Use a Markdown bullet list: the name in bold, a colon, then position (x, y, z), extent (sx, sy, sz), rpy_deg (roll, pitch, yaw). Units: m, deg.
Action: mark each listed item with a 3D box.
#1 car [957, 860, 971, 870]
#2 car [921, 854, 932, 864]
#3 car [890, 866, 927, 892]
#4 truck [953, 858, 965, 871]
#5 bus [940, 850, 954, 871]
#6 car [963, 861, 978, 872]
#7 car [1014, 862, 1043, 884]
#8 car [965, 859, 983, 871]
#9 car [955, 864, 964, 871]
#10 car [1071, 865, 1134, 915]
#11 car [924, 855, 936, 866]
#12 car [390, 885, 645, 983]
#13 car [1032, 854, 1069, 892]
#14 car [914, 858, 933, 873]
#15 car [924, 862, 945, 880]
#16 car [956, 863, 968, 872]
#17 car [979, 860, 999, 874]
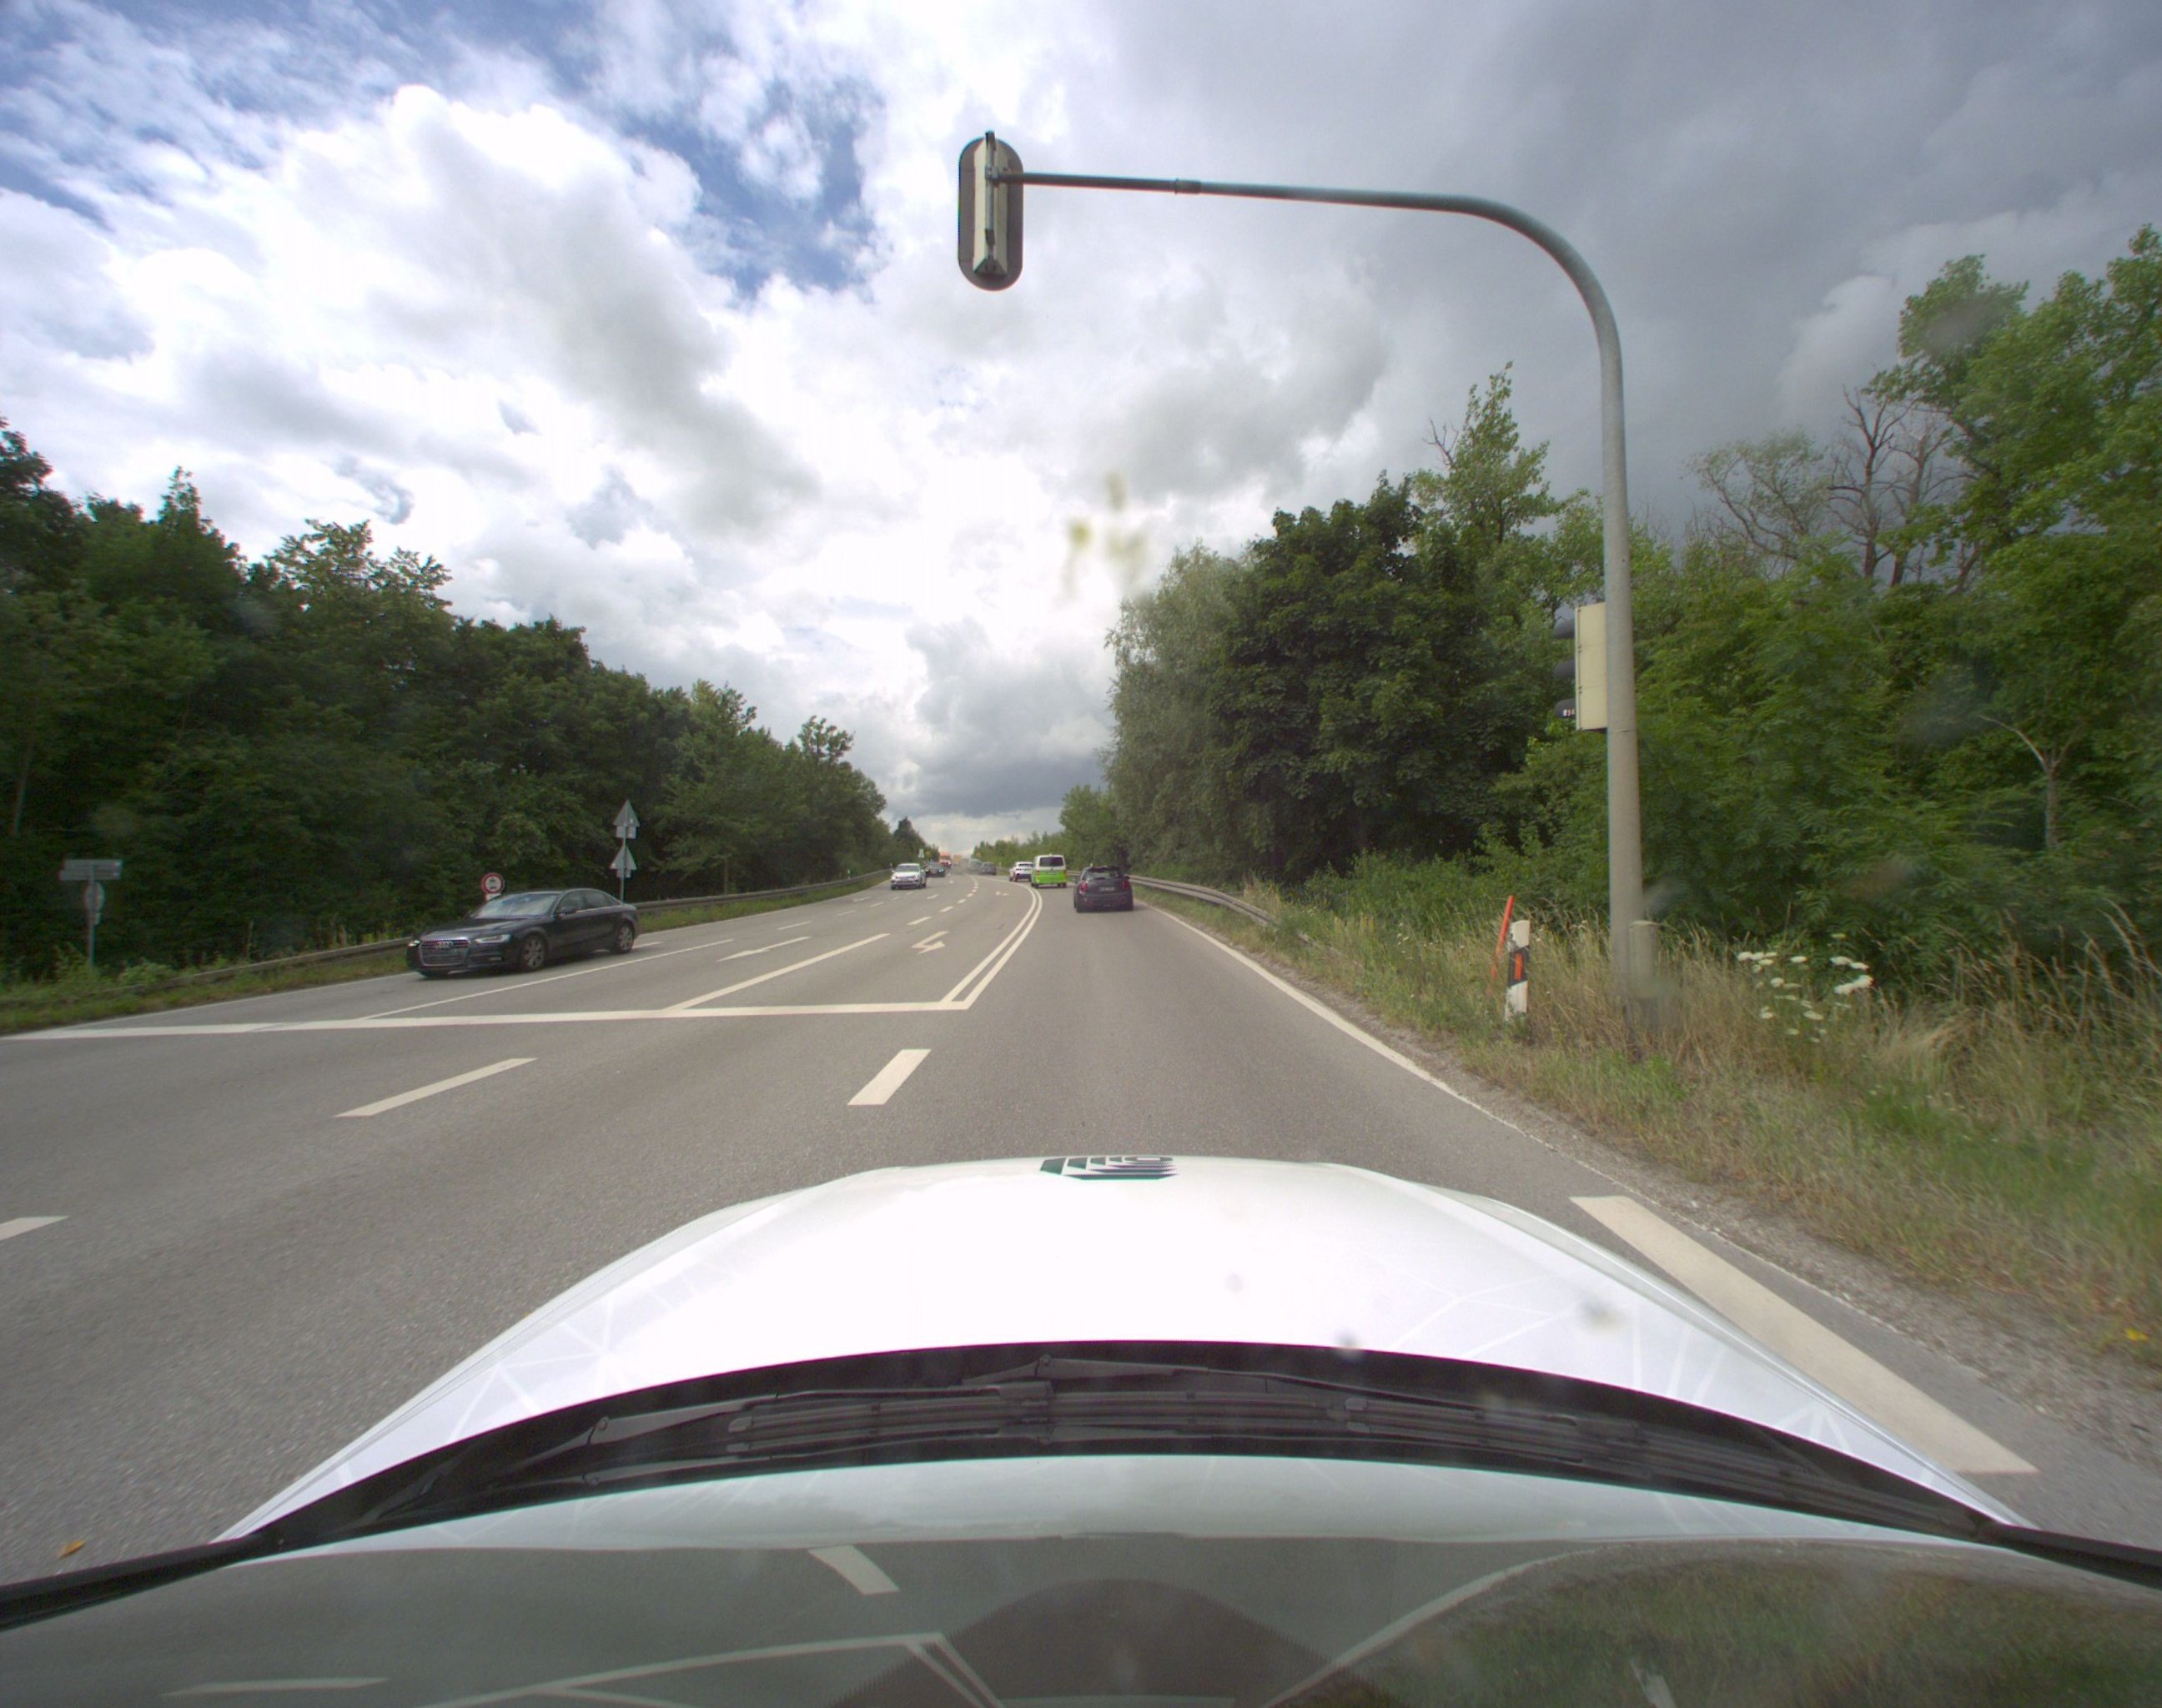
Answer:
- **car**: position (-19.829, 1.887, 138.166), extent (1.996, 1.696, 4.465), rpy_deg (1, -1, -13)
- **car**: position (-33.291, 1.053, 175.706), extent (1.992, 2.014, 3.989), rpy_deg (0, -1, -8)
- **car**: position (-11.485, 1.644, 54.536), extent (1.991, 1.613, 3.992), rpy_deg (0, -1, -6)
- **truck**: position (-31.932, 2.731, 212.957), extent (2.713, 2.899, 8.749), rpy_deg (1, -4, -6)
- **bus**: position (-22.302, 1.071, 135.365), extent (1.995, 3.302, 7.398), rpy_deg (0, -1, -12)
- **car**: position (-16.384, 1.888, 120.303), extent (1.994, 1.477, 4.468), rpy_deg (1, -2, -11)
- **car**: position (-4.194, 1.505, 64.565), extent (1.993, 1.684, 3.988), rpy_deg (-1, -1, -8)
- **car**: position (-14.008, 1.438, 106.625), extent (1.995, 1.477, 4.465), rpy_deg (1, -2, -13)
- **car**: position (-29.587, 3.297, 198.469), extent (1.995, 1.787, 4.466), rpy_deg (0, -1, -12)
- **car**: position (0.666, 1.090, 26.063), extent (1.838, 1.428, 3.841), rpy_deg (-2, -1, 1)
- **car**: position (-28.408, 1.281, 152.998), extent (1.992, 2.014, 3.990), rpy_deg (1, -1, -7)
- **car**: position (-10.088, 1.351, 15.067), extent (1.732, 1.406, 4.249), rpy_deg (-2, -1, 0)
- **car**: position (-1.858, 1.098, 48.861), extent (1.844, 1.986, 3.831), rpy_deg (0, 2, -8)
- **car**: position (-18.383, 1.384, 94.938), extent (1.993, 1.690, 3.987), rpy_deg (0, -1, -9)
- **car**: position (-14.613, 1.716, 81.368), extent (1.993, 1.690, 3.987), rpy_deg (-2, -1, -9)
- **car**: position (-23.511, 2.721, 160.769), extent (1.995, 1.696, 4.467), rpy_deg (1, -2, -11)
- **car**: position (-10.462, 1.491, 92.228), extent (1.994, 1.477, 4.468), rpy_deg (1, -2, -11)
